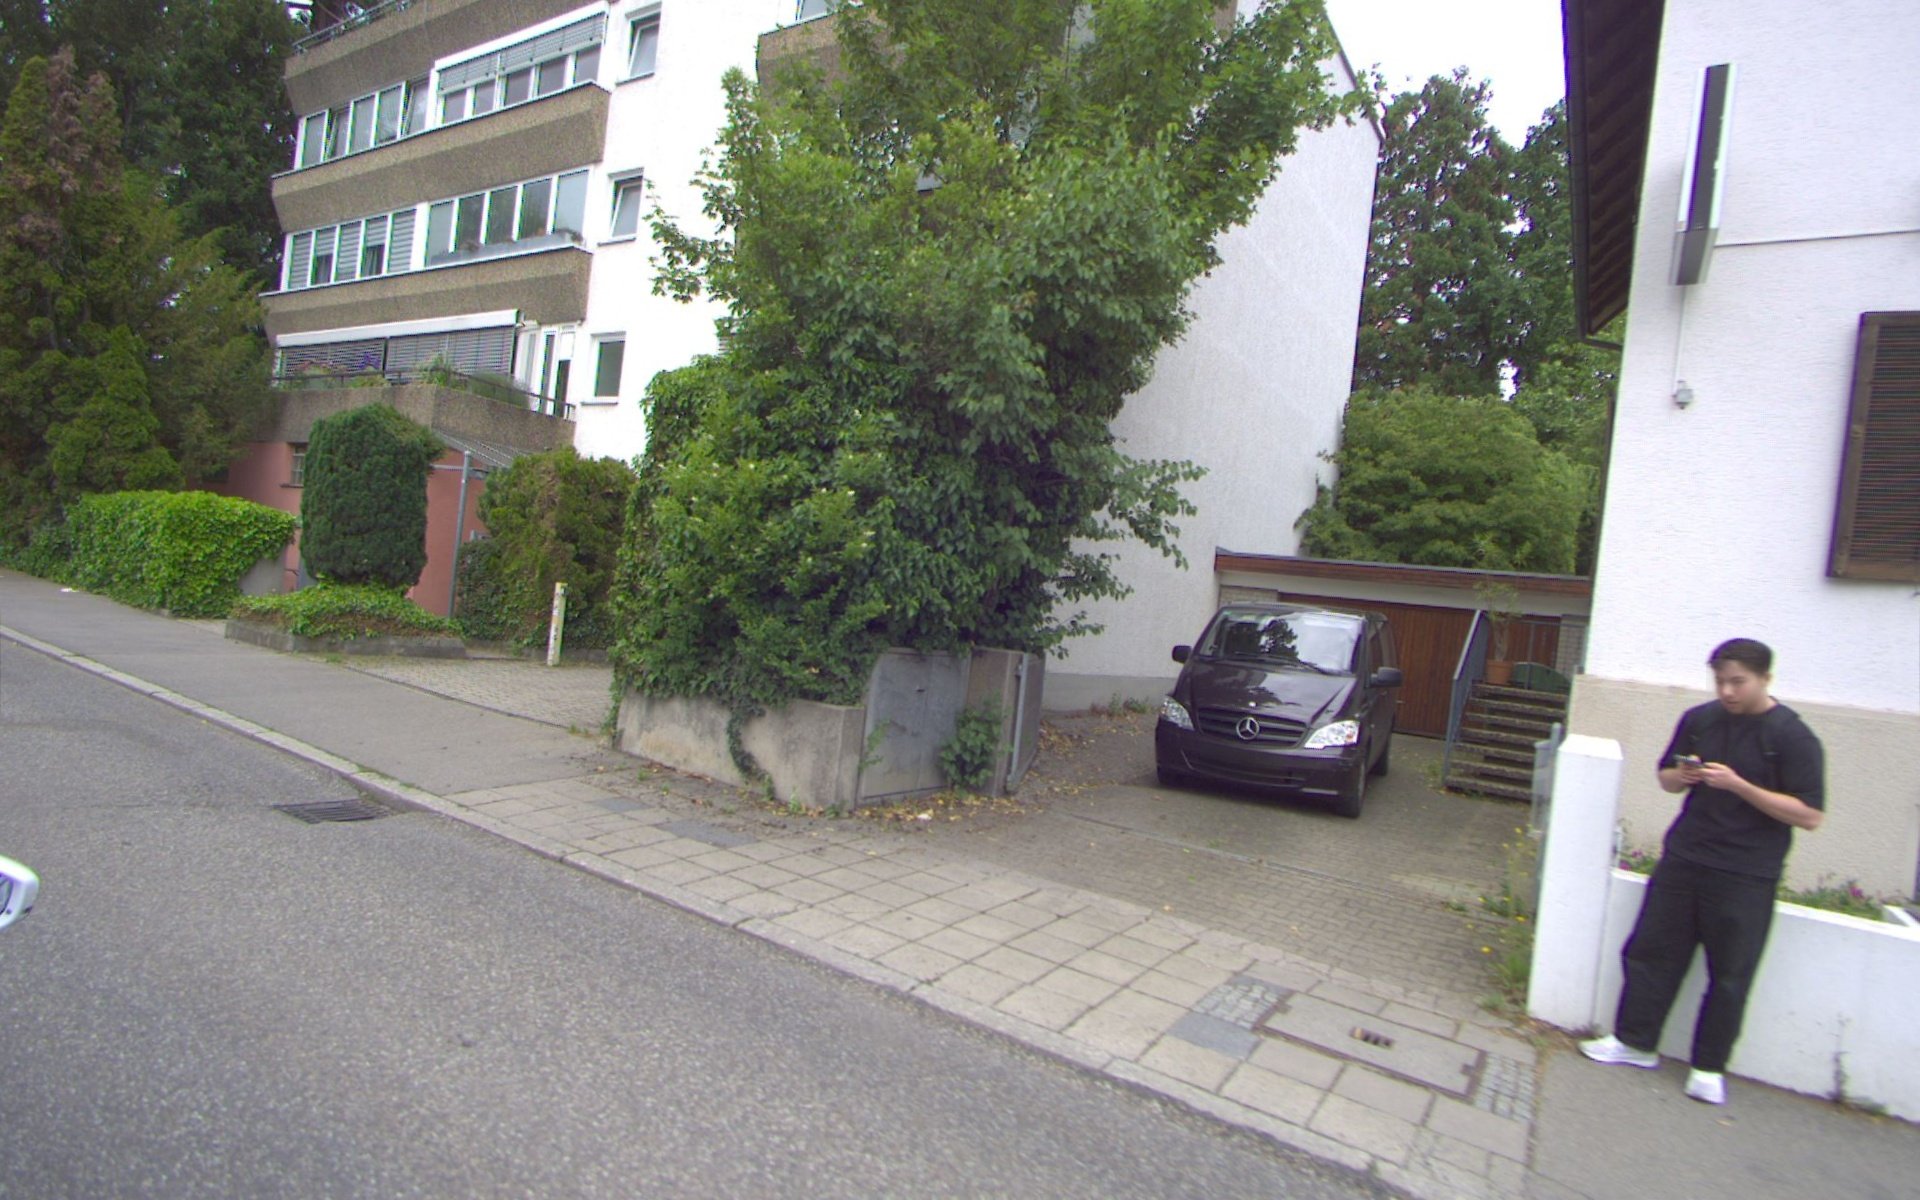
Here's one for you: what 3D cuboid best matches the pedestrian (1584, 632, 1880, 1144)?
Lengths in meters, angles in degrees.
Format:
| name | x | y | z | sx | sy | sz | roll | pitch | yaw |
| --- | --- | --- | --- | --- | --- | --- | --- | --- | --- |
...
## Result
| name | x | y | z | sx | sy | sz | roll | pitch | yaw |
| --- | --- | --- | --- | --- | --- | --- | --- | --- | --- |
| pedestrian | 2.926 | 1.027 | 3.843 | 0.523 | 1.734 | 0.583 | 4 | 2 | -29 |

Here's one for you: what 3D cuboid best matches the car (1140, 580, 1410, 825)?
| name | x | y | z | sx | sy | sz | roll | pitch | yaw |
| --- | --- | --- | --- | --- | --- | --- | --- | --- | --- |
| car | 3.419 | 0.916 | 10.354 | 1.855 | 1.811 | 3.994 | 7 | 1 | 27 |
